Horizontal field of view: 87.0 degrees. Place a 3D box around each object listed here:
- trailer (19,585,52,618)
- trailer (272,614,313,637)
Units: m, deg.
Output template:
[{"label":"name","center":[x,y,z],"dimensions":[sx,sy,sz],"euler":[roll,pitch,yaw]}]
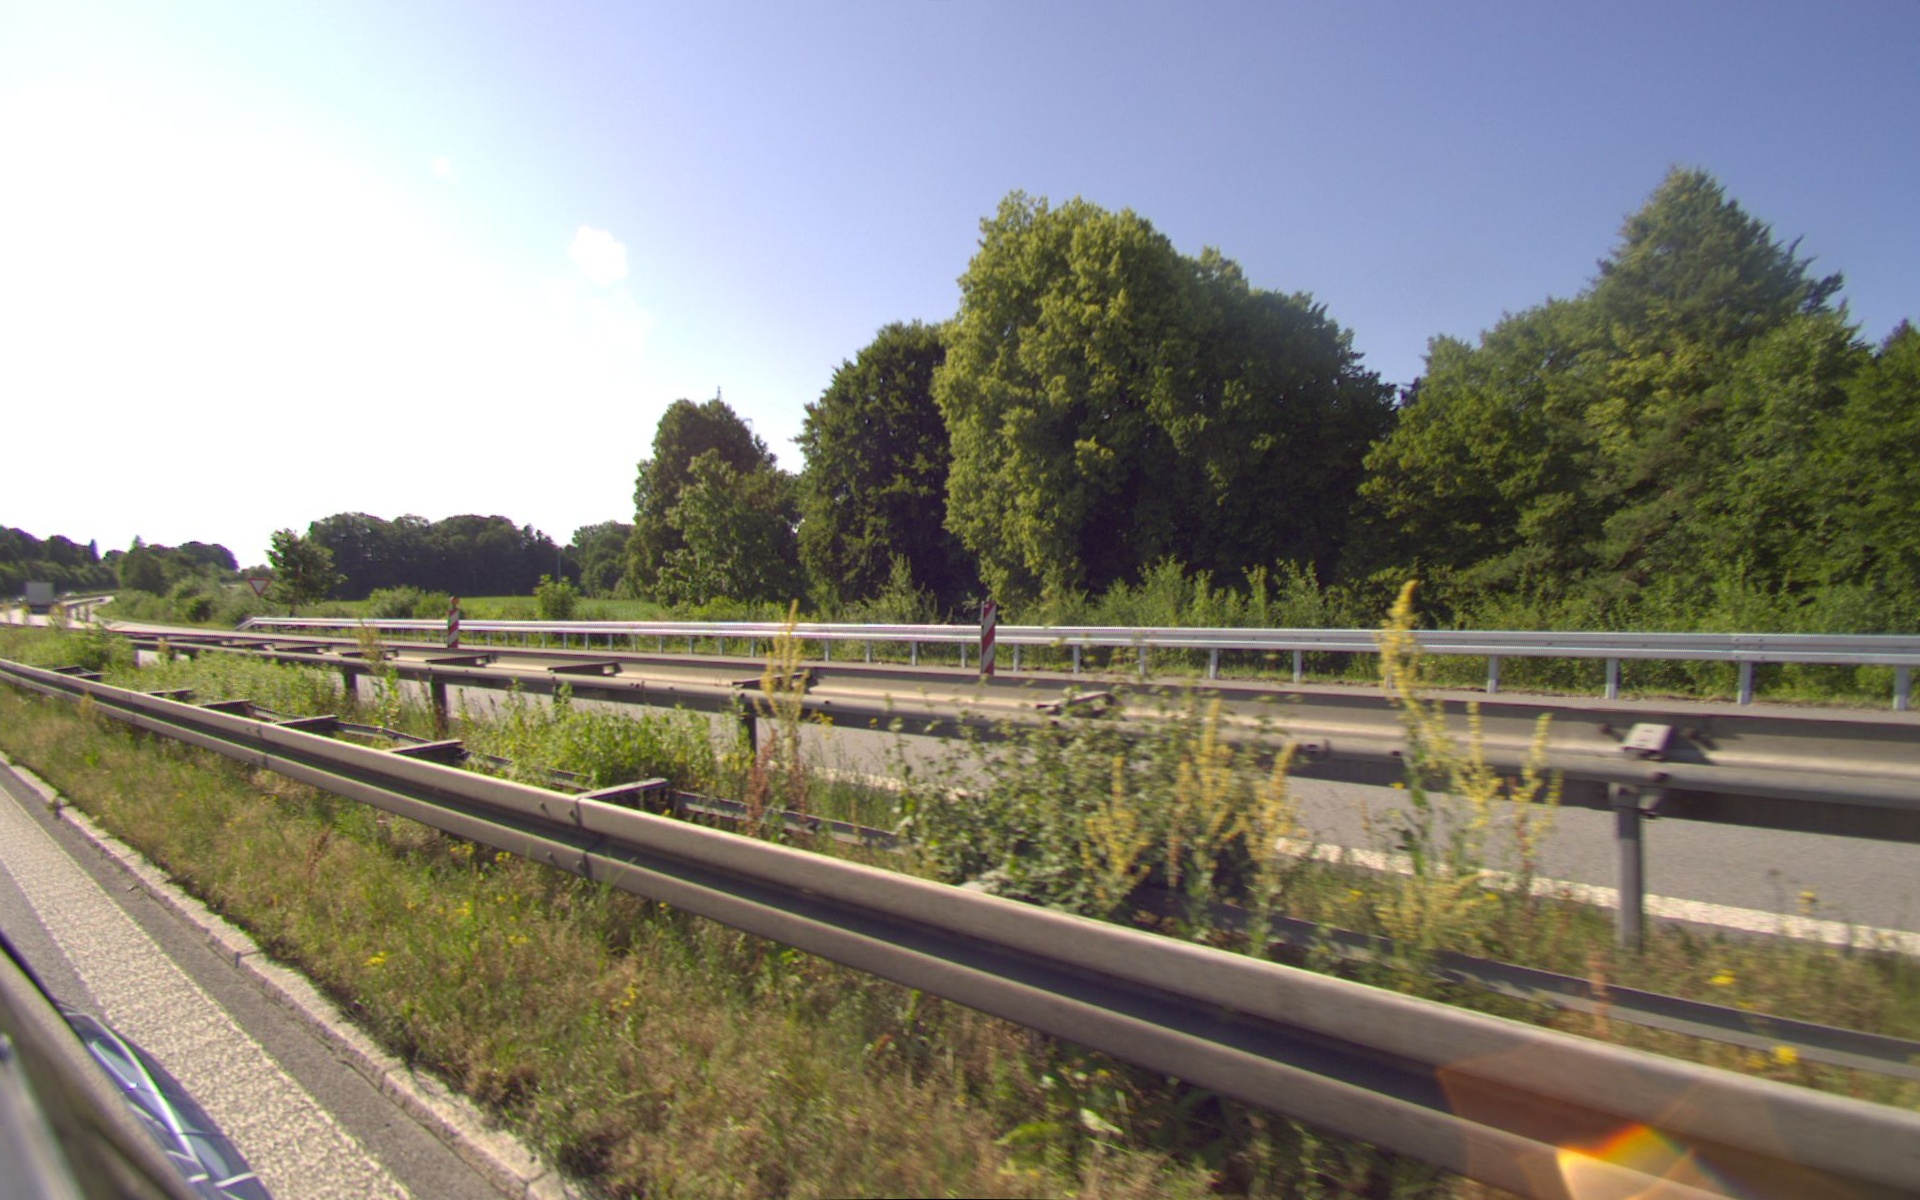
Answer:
[{"label":"trailer","center":[-117.376,0.276,128.436],"dimensions":[2.648,3.984,13.777],"euler":[0,-1,-44]},{"label":"trailer","center":[-34.676,1.320,52.541],"dimensions":[3.424,1.060,0.982],"euler":[-1,4,43]}]
